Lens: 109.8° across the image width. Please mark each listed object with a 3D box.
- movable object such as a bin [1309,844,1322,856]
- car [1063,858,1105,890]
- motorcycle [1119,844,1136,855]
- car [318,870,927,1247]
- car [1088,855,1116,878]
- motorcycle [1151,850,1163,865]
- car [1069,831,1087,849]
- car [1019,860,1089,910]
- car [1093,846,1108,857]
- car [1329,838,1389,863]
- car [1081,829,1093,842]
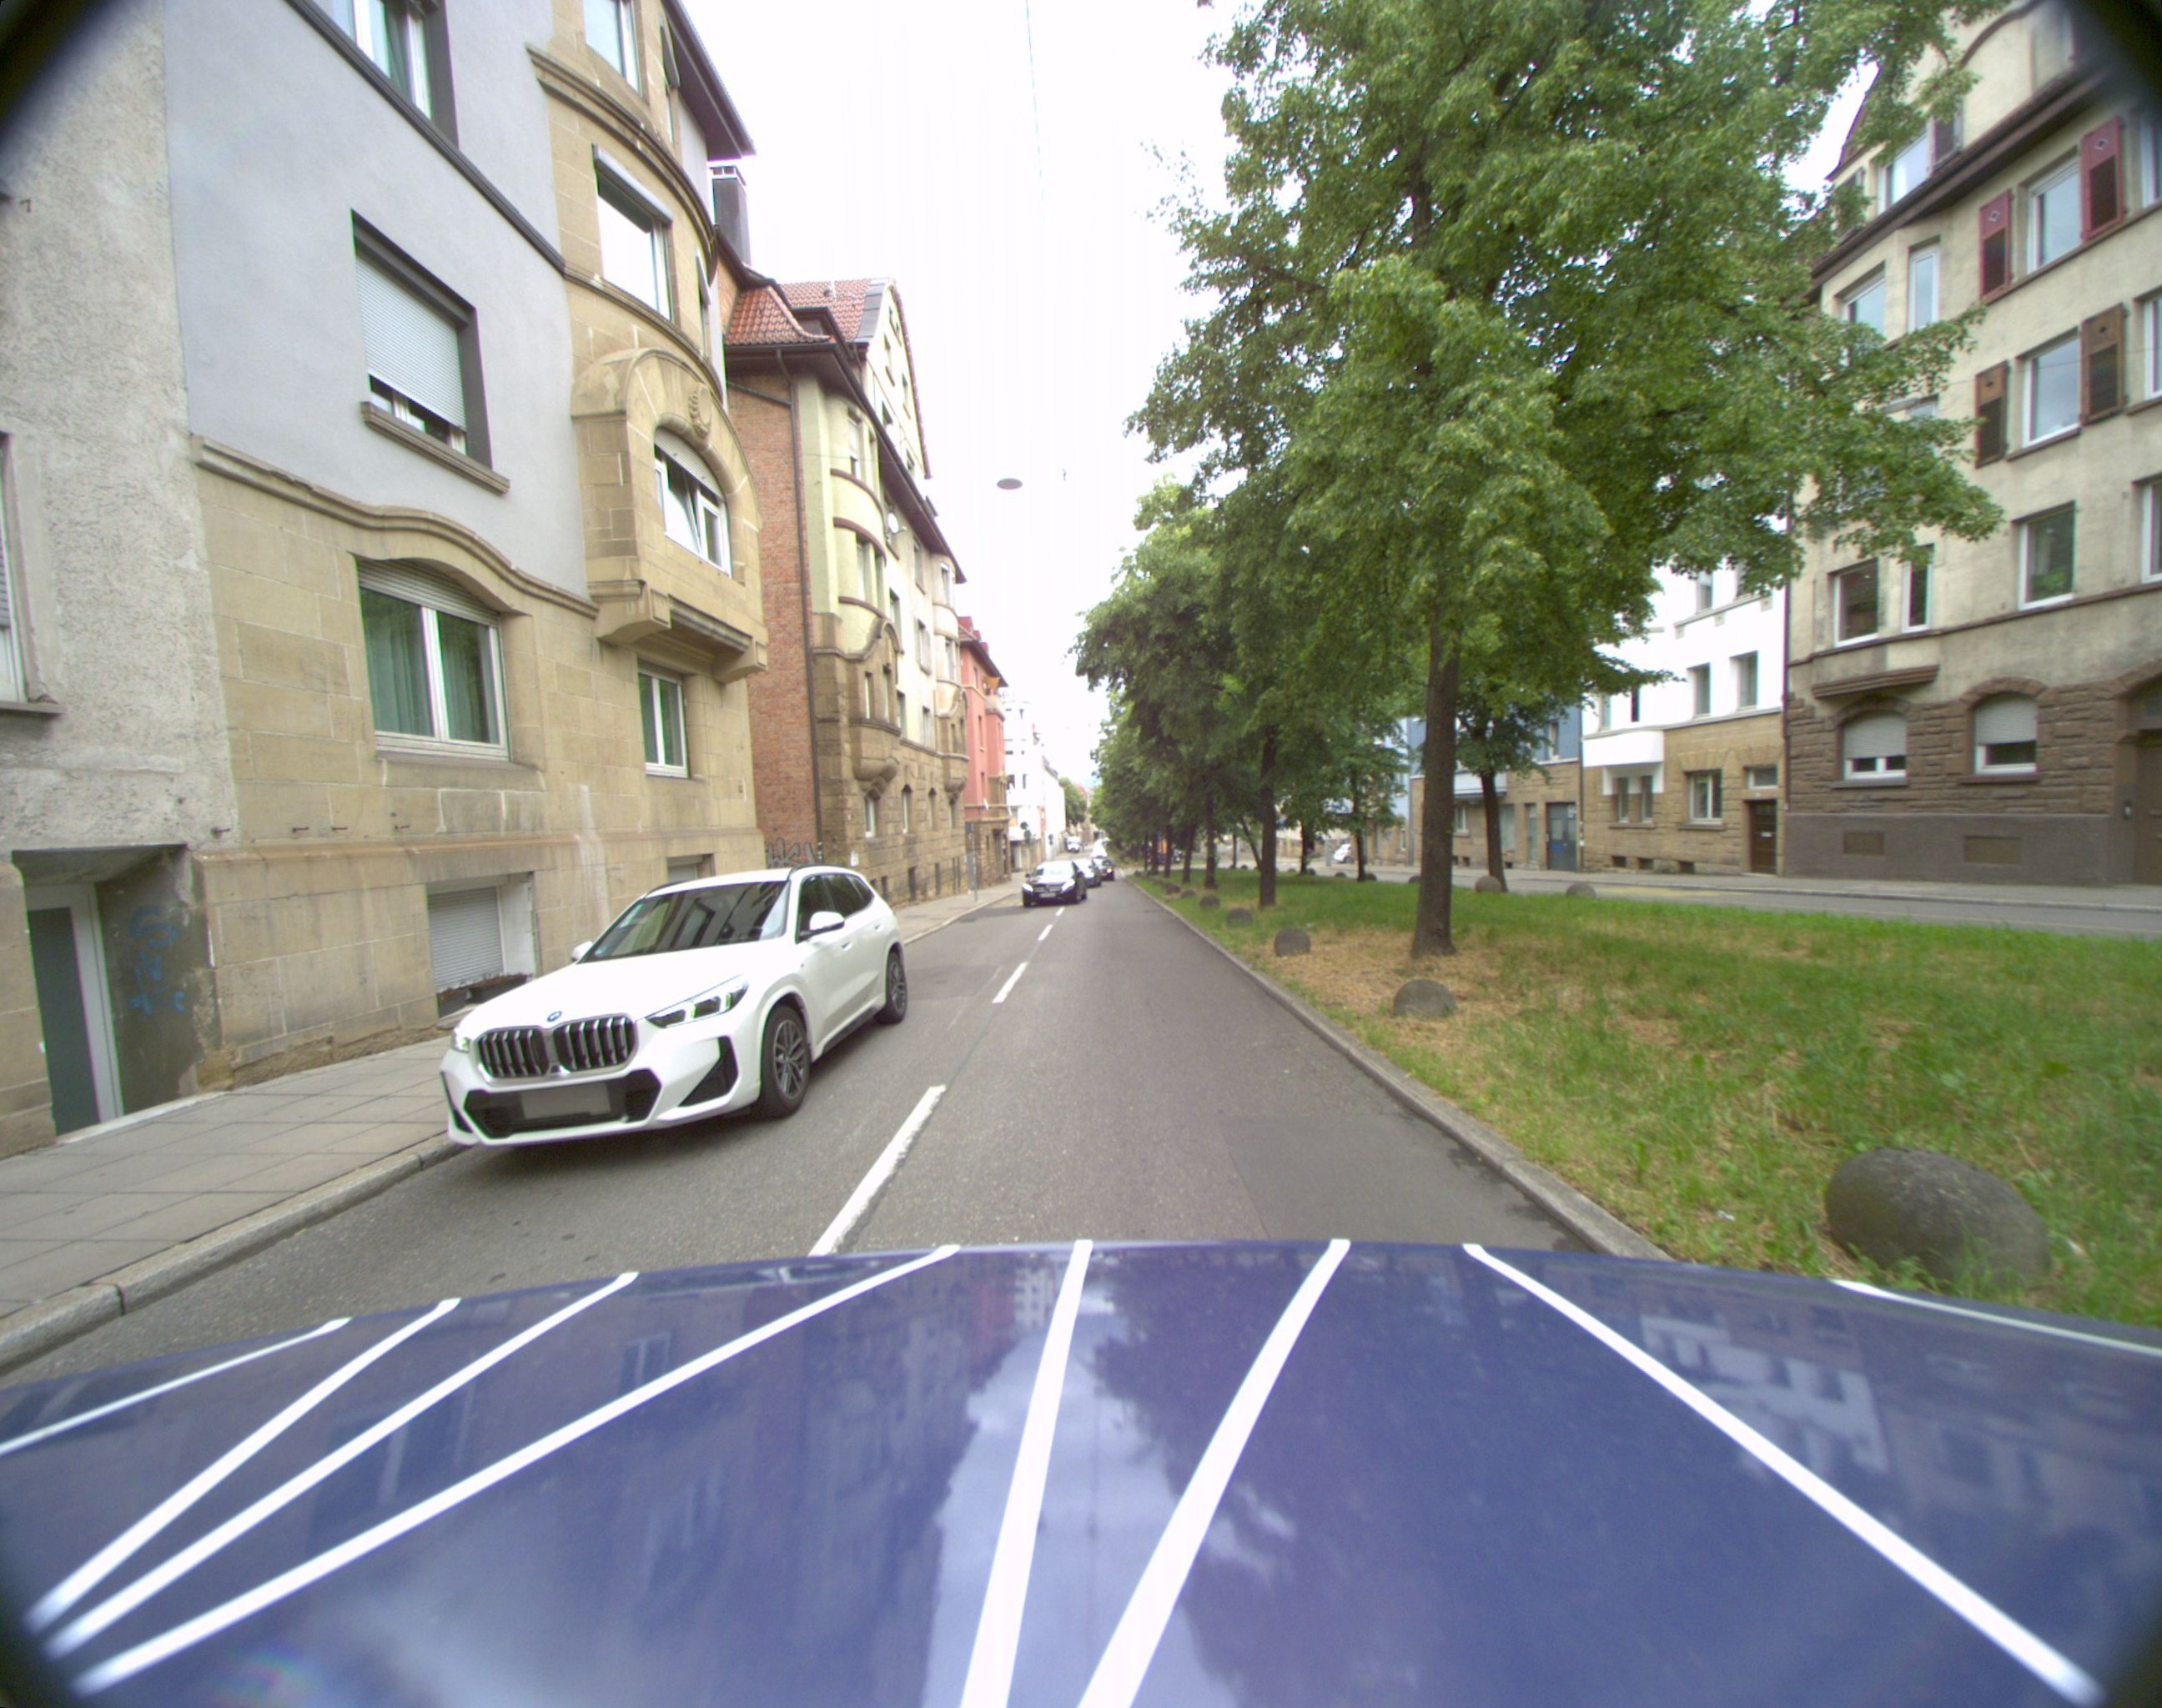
[{"bbox_3d":[20.904,-0.352,67.696,0.888,0.988,0.668,-5,2,0],"label":"movable object such as a bin"},{"bbox_3d":[0.228,1.005,40.003,1.853,1.361,4.282,-5,0,4],"label":"car"},{"bbox_3d":[5.840,-0.572,95.821,2.040,1.126,0.454,-3,4,2],"label":"motorcycle"},{"bbox_3d":[-2.781,1.089,6.112,1.854,1.595,4.563,-7,0,2],"label":"car"},{"bbox_3d":[1.425,0.820,50.604,1.783,1.420,4.281,-1,0,2],"label":"car"},{"bbox_3d":[6.909,0.302,68.939,0.888,1.090,2.481,-3,3,9],"label":"motorcycle"},{"bbox_3d":[-0.515,-2.527,135.947,3.026,3.045,7.165,-2,2,0],"label":"car"},{"bbox_3d":[-0.820,1.008,26.112,1.853,1.361,4.282,-5,0,4],"label":"car"},{"bbox_3d":[2.465,-0.315,95.016,1.783,1.420,4.281,-1,0,2],"label":"car"},{"bbox_3d":[22.107,-0.298,60.472,4.007,1.462,1.870,-7,3,-1],"label":"car"},{"bbox_3d":[1.565,-4.880,195.814,3.026,3.045,7.165,-2,2,0],"label":"car"}]
